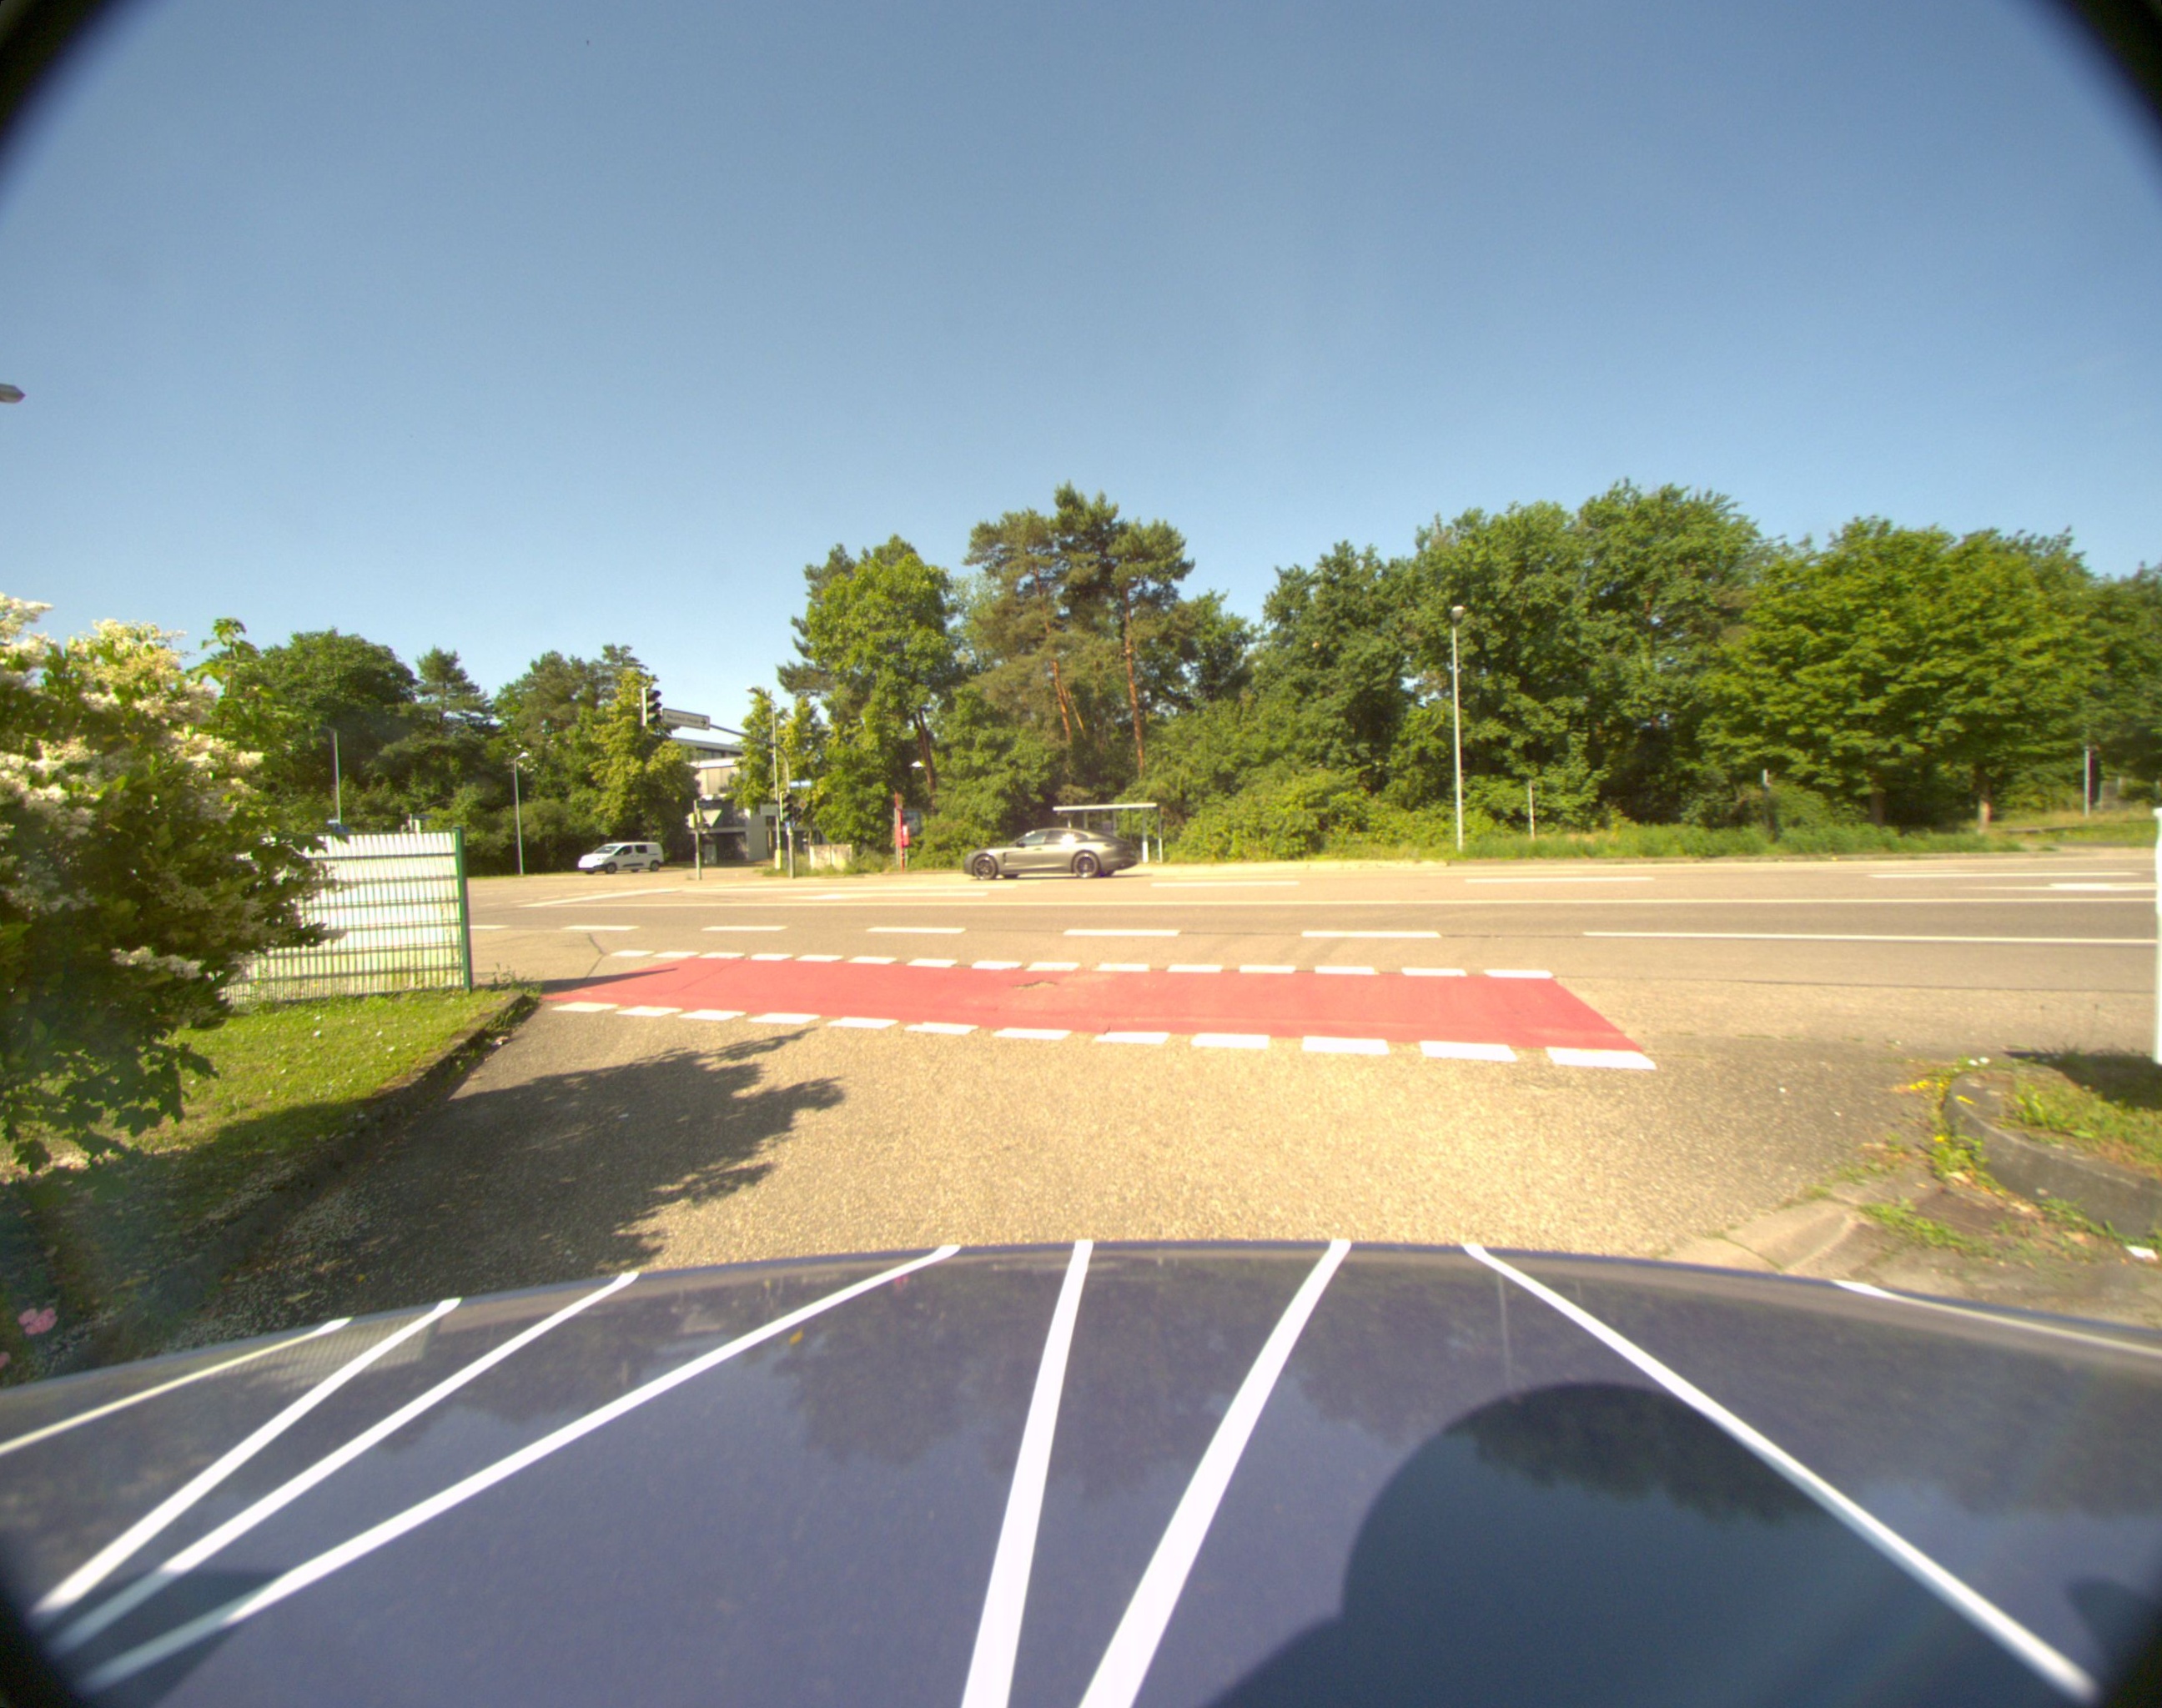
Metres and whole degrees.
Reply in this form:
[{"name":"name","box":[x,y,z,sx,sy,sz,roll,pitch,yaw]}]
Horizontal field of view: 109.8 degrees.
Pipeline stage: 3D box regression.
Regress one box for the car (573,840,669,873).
[{"name":"car","box":[-26.988,0.108,44.788,1.848,1.768,4.667,-1,1,18]}]

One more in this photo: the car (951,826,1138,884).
[{"name":"car","box":[-1.009,0.040,21.506,4.901,1.487,1.855,-1,1,18]}]
